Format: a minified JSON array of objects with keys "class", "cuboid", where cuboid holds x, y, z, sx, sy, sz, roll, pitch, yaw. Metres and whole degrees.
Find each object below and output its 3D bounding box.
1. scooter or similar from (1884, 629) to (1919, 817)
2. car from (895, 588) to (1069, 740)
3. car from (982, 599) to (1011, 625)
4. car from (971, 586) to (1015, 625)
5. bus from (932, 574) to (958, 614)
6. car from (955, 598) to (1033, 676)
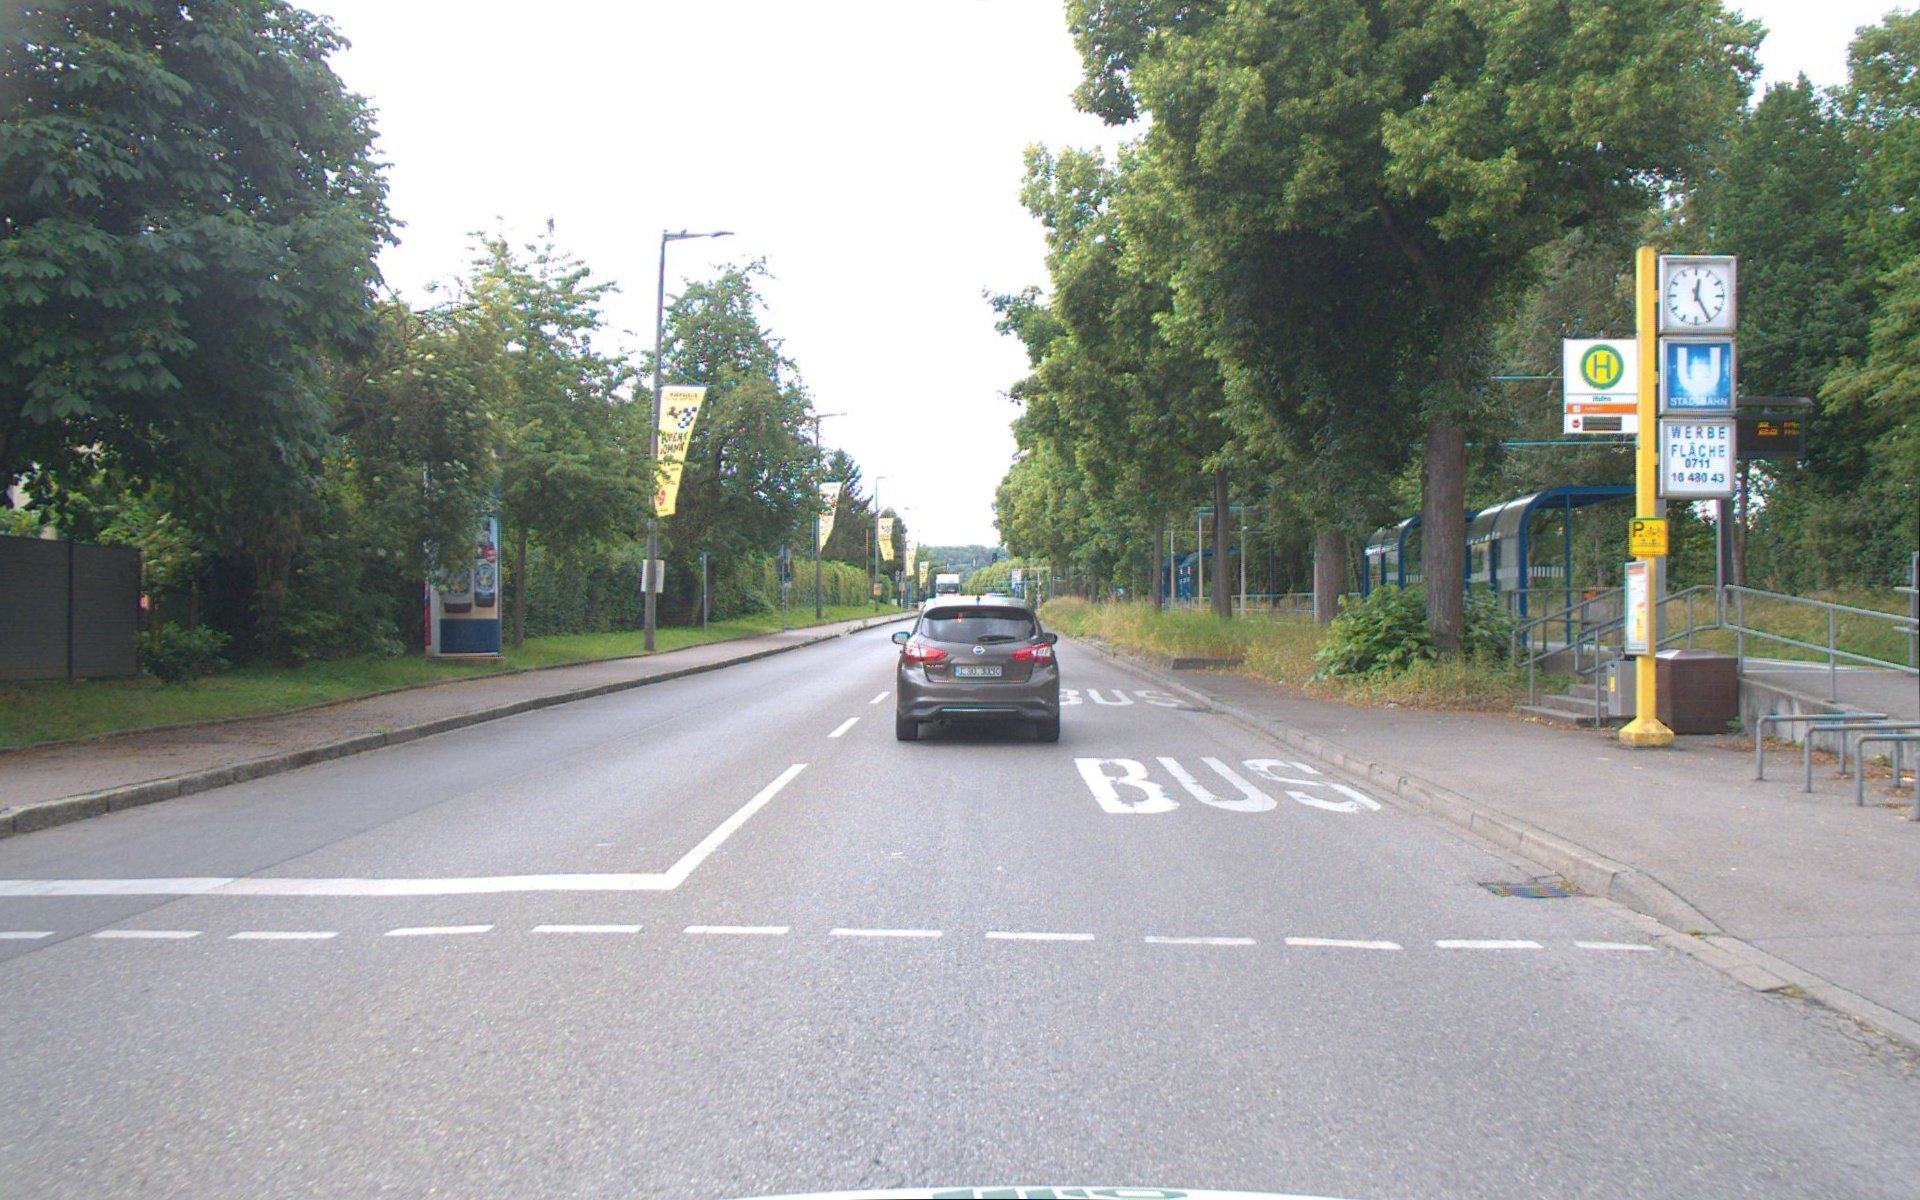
[{"class":"scooter or similar","cuboid":[7.157,0.848,11.474,1.432,1.264,0.482,1,-1,-20]},{"class":"car","cuboid":[0.268,0.673,18.579,1.746,1.533,3.696,0,-1,1]},{"class":"car","cuboid":[2.109,0.695,96.652,1.657,1.466,3.541,1,-1,1]},{"class":"car","cuboid":[1.290,0.230,64.649,1.657,1.466,3.541,1,-1,1]},{"class":"bus","cuboid":[-1.571,-0.604,173.444,2.436,4.096,10.218,0,0,1]},{"class":"car","cuboid":[0.677,0.720,33.391,1.471,1.466,3.541,1,-1,1]}]
